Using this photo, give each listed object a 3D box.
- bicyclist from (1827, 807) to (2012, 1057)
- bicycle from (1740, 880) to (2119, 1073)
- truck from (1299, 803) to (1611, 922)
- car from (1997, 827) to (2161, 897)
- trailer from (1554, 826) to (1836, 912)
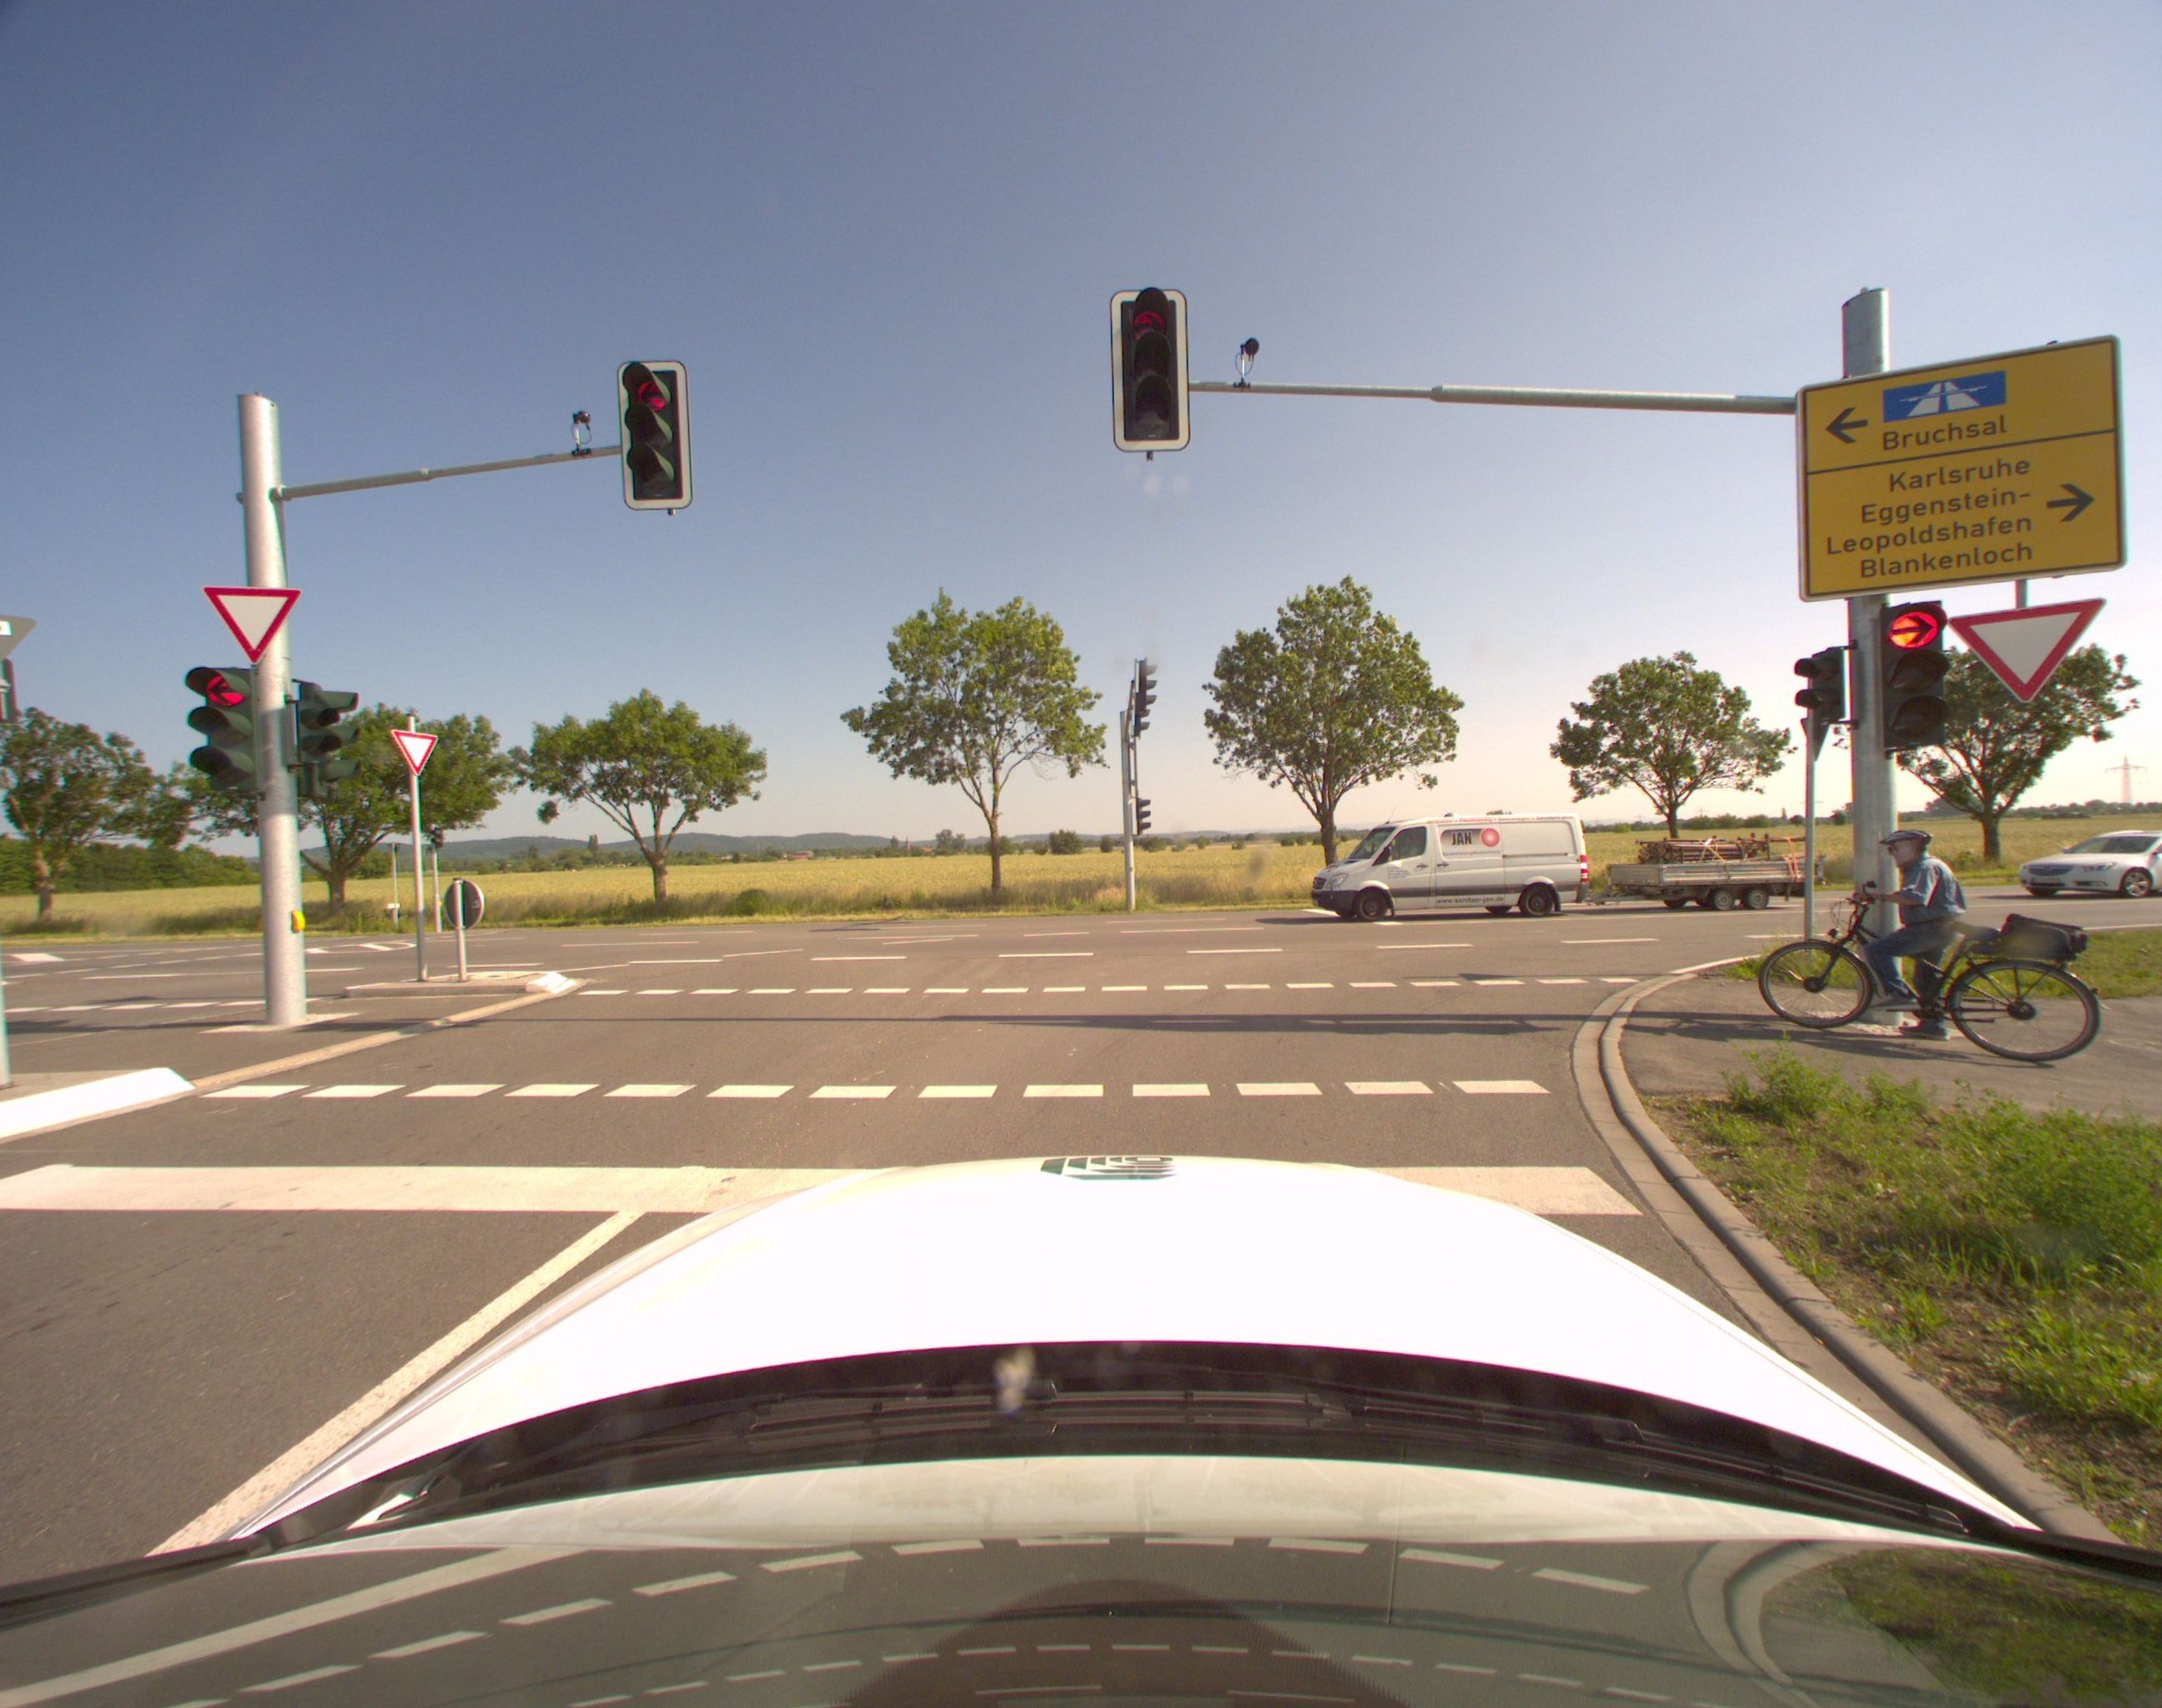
[{"bbox_3d":[6.430,0.535,6.282,0.623,1.765,0.906,0,1,-44],"label":"bicyclist"},{"bbox_3d":[6.387,0.838,6.292,0.685,1.151,1.922,0,2,-44],"label":"bicycle"},{"bbox_3d":[8.383,0.195,18.715,6.156,2.405,2.072,-2,-1,1],"label":"truck"},{"bbox_3d":[24.596,0.133,18.986,4.682,1.492,1.763,-2,-1,-3],"label":"car"},{"bbox_3d":[13.970,0.342,18.762,4.980,1.738,1.980,-2,-1,-1],"label":"trailer"}]
